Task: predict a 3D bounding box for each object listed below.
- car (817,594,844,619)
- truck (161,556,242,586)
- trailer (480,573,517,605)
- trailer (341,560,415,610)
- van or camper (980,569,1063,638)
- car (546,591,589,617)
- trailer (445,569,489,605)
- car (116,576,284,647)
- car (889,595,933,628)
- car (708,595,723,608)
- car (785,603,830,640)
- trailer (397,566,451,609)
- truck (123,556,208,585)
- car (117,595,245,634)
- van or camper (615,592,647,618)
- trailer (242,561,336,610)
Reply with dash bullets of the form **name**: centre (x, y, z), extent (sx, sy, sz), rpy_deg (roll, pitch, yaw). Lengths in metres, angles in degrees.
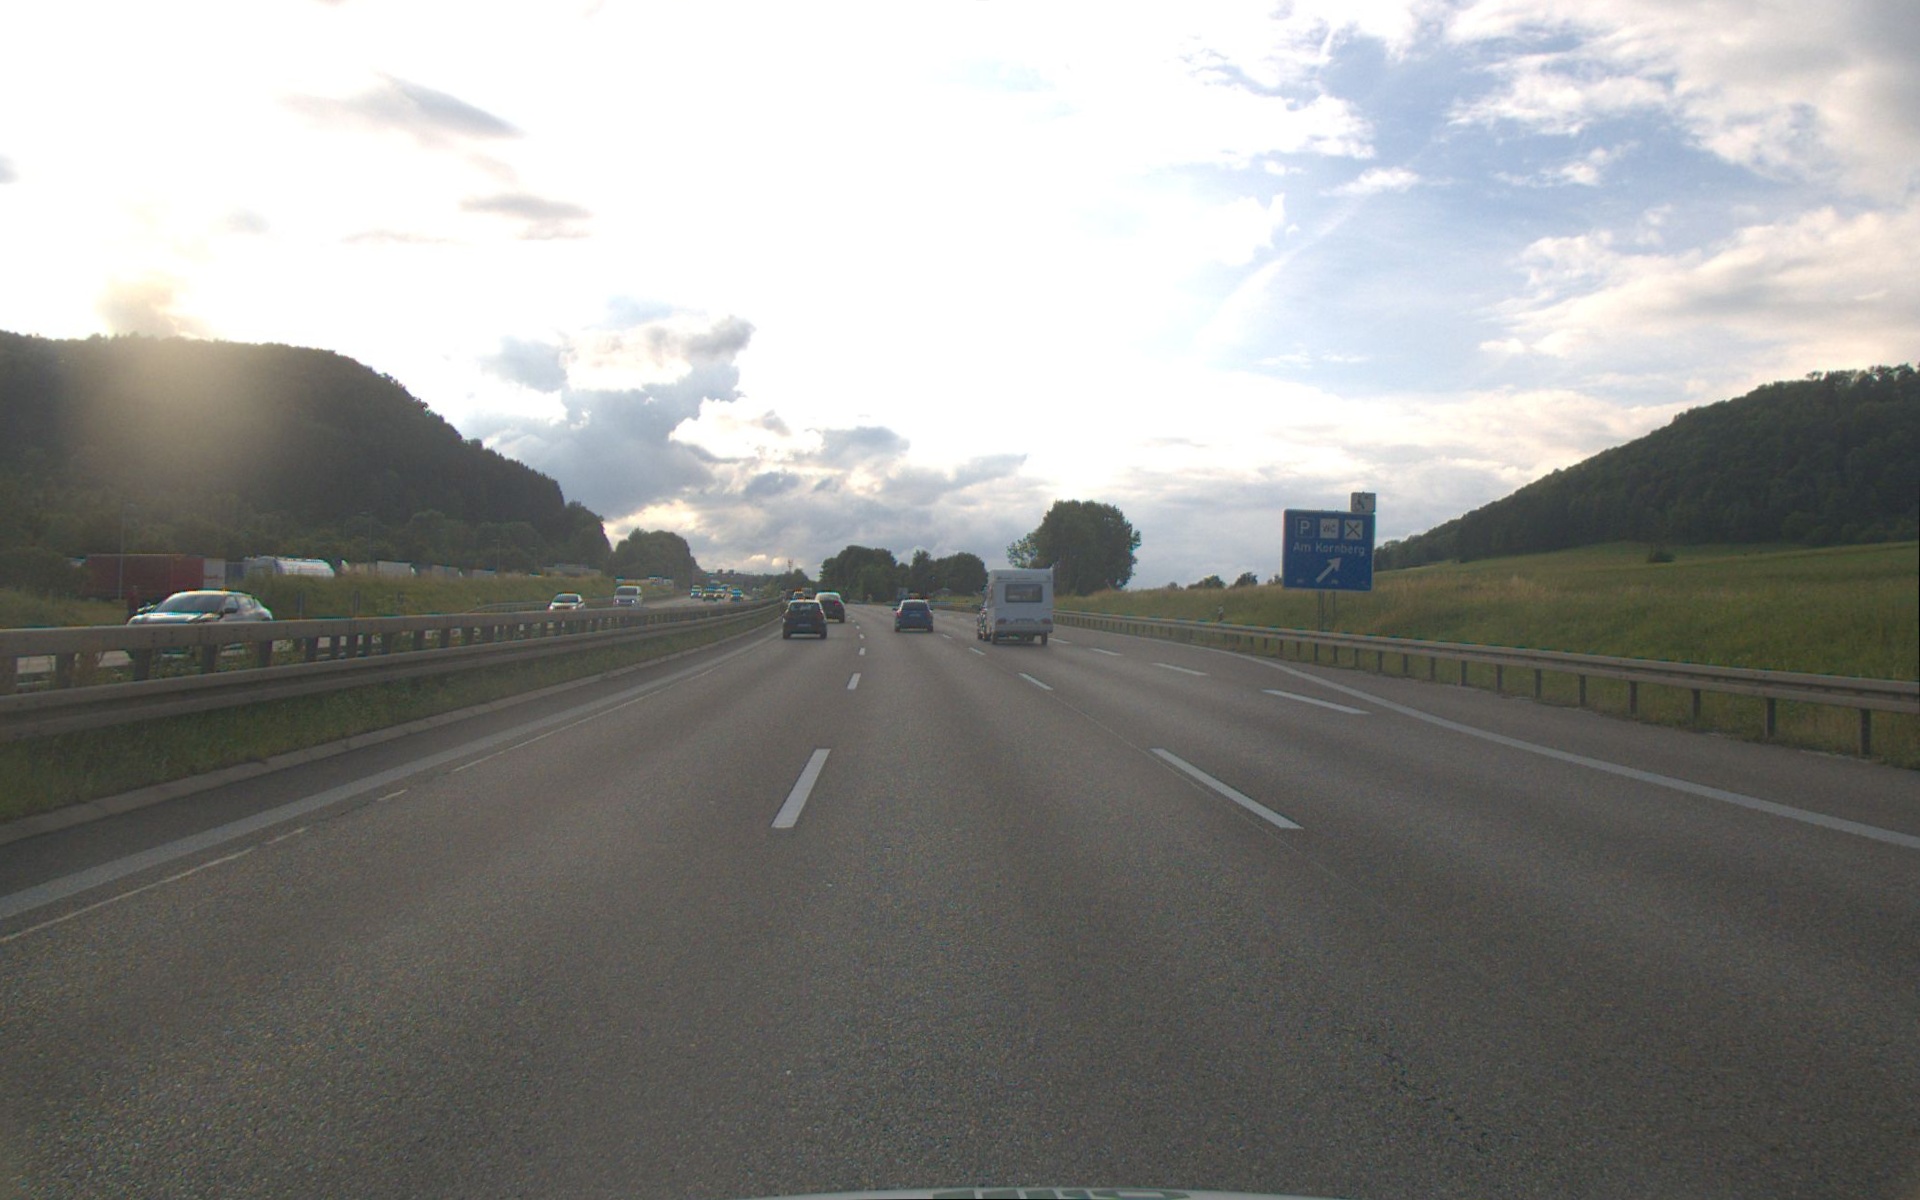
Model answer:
- **car**: centre (-7.644, 0.374, 97.354), extent (1.534, 1.404, 3.996), rpy_deg (0, 0, -5)
- **truck**: centre (-60.382, -2.247, 131.609), extent (7.166, 2.265, 2.888), rpy_deg (0, -1, 38)
- **trailer**: centre (-56.092, -1.298, 201.209), extent (2.822, 3.761, 10.357), rpy_deg (0, 0, -7)
- **trailer**: centre (-47.630, -1.134, 135.745), extent (2.822, 3.761, 13.654), rpy_deg (-1, 0, -7)
- **van or camper**: centre (2.092, 0.167, 58.018), extent (2.497, 2.279, 5.326), rpy_deg (0, -1, -2)
- **car**: centre (-23.083, 0.237, 97.385), extent (1.955, 1.523, 4.685), rpy_deg (0, 0, -7)
- **trailer**: centre (-53.292, -1.346, 179.141), extent (2.822, 3.761, 10.357), rpy_deg (0, 0, -7)
- **car**: centre (-17.723, 0.278, 38.843), extent (1.954, 1.523, 4.689), rpy_deg (-1, -1, -3)
- **car**: centre (-2.258, 0.532, 75.386), extent (1.732, 1.458, 3.995), rpy_deg (-1, 0, -6)
- **car**: centre (-33.652, 0.189, 227.700), extent (1.772, 1.642, 4.336), rpy_deg (1, -1, -5)
- **car**: centre (-5.866, 0.827, 63.838), extent (1.507, 1.371, 3.675), rpy_deg (0, 0, -2)
- **trailer**: centre (-51.061, -1.085, 158.014), extent (2.824, 3.761, 13.645), rpy_deg (-1, -1, -9)
- **truck**: centre (-60.573, -2.213, 126.021), extent (7.166, 2.049, 2.888), rpy_deg (0, -2, 38)
- **car**: centre (-32.580, 0.605, 69.288), extent (4.525, 1.578, 1.993), rpy_deg (0, 0, -14)
- **van or camper**: centre (-25.331, 0.371, 127.380), extent (1.878, 1.906, 4.751), rpy_deg (0, 0, -4)
- **trailer**: centre (-45.080, -0.860, 111.553), extent (2.529, 2.903, 12.245), rpy_deg (1, -1, -6)
